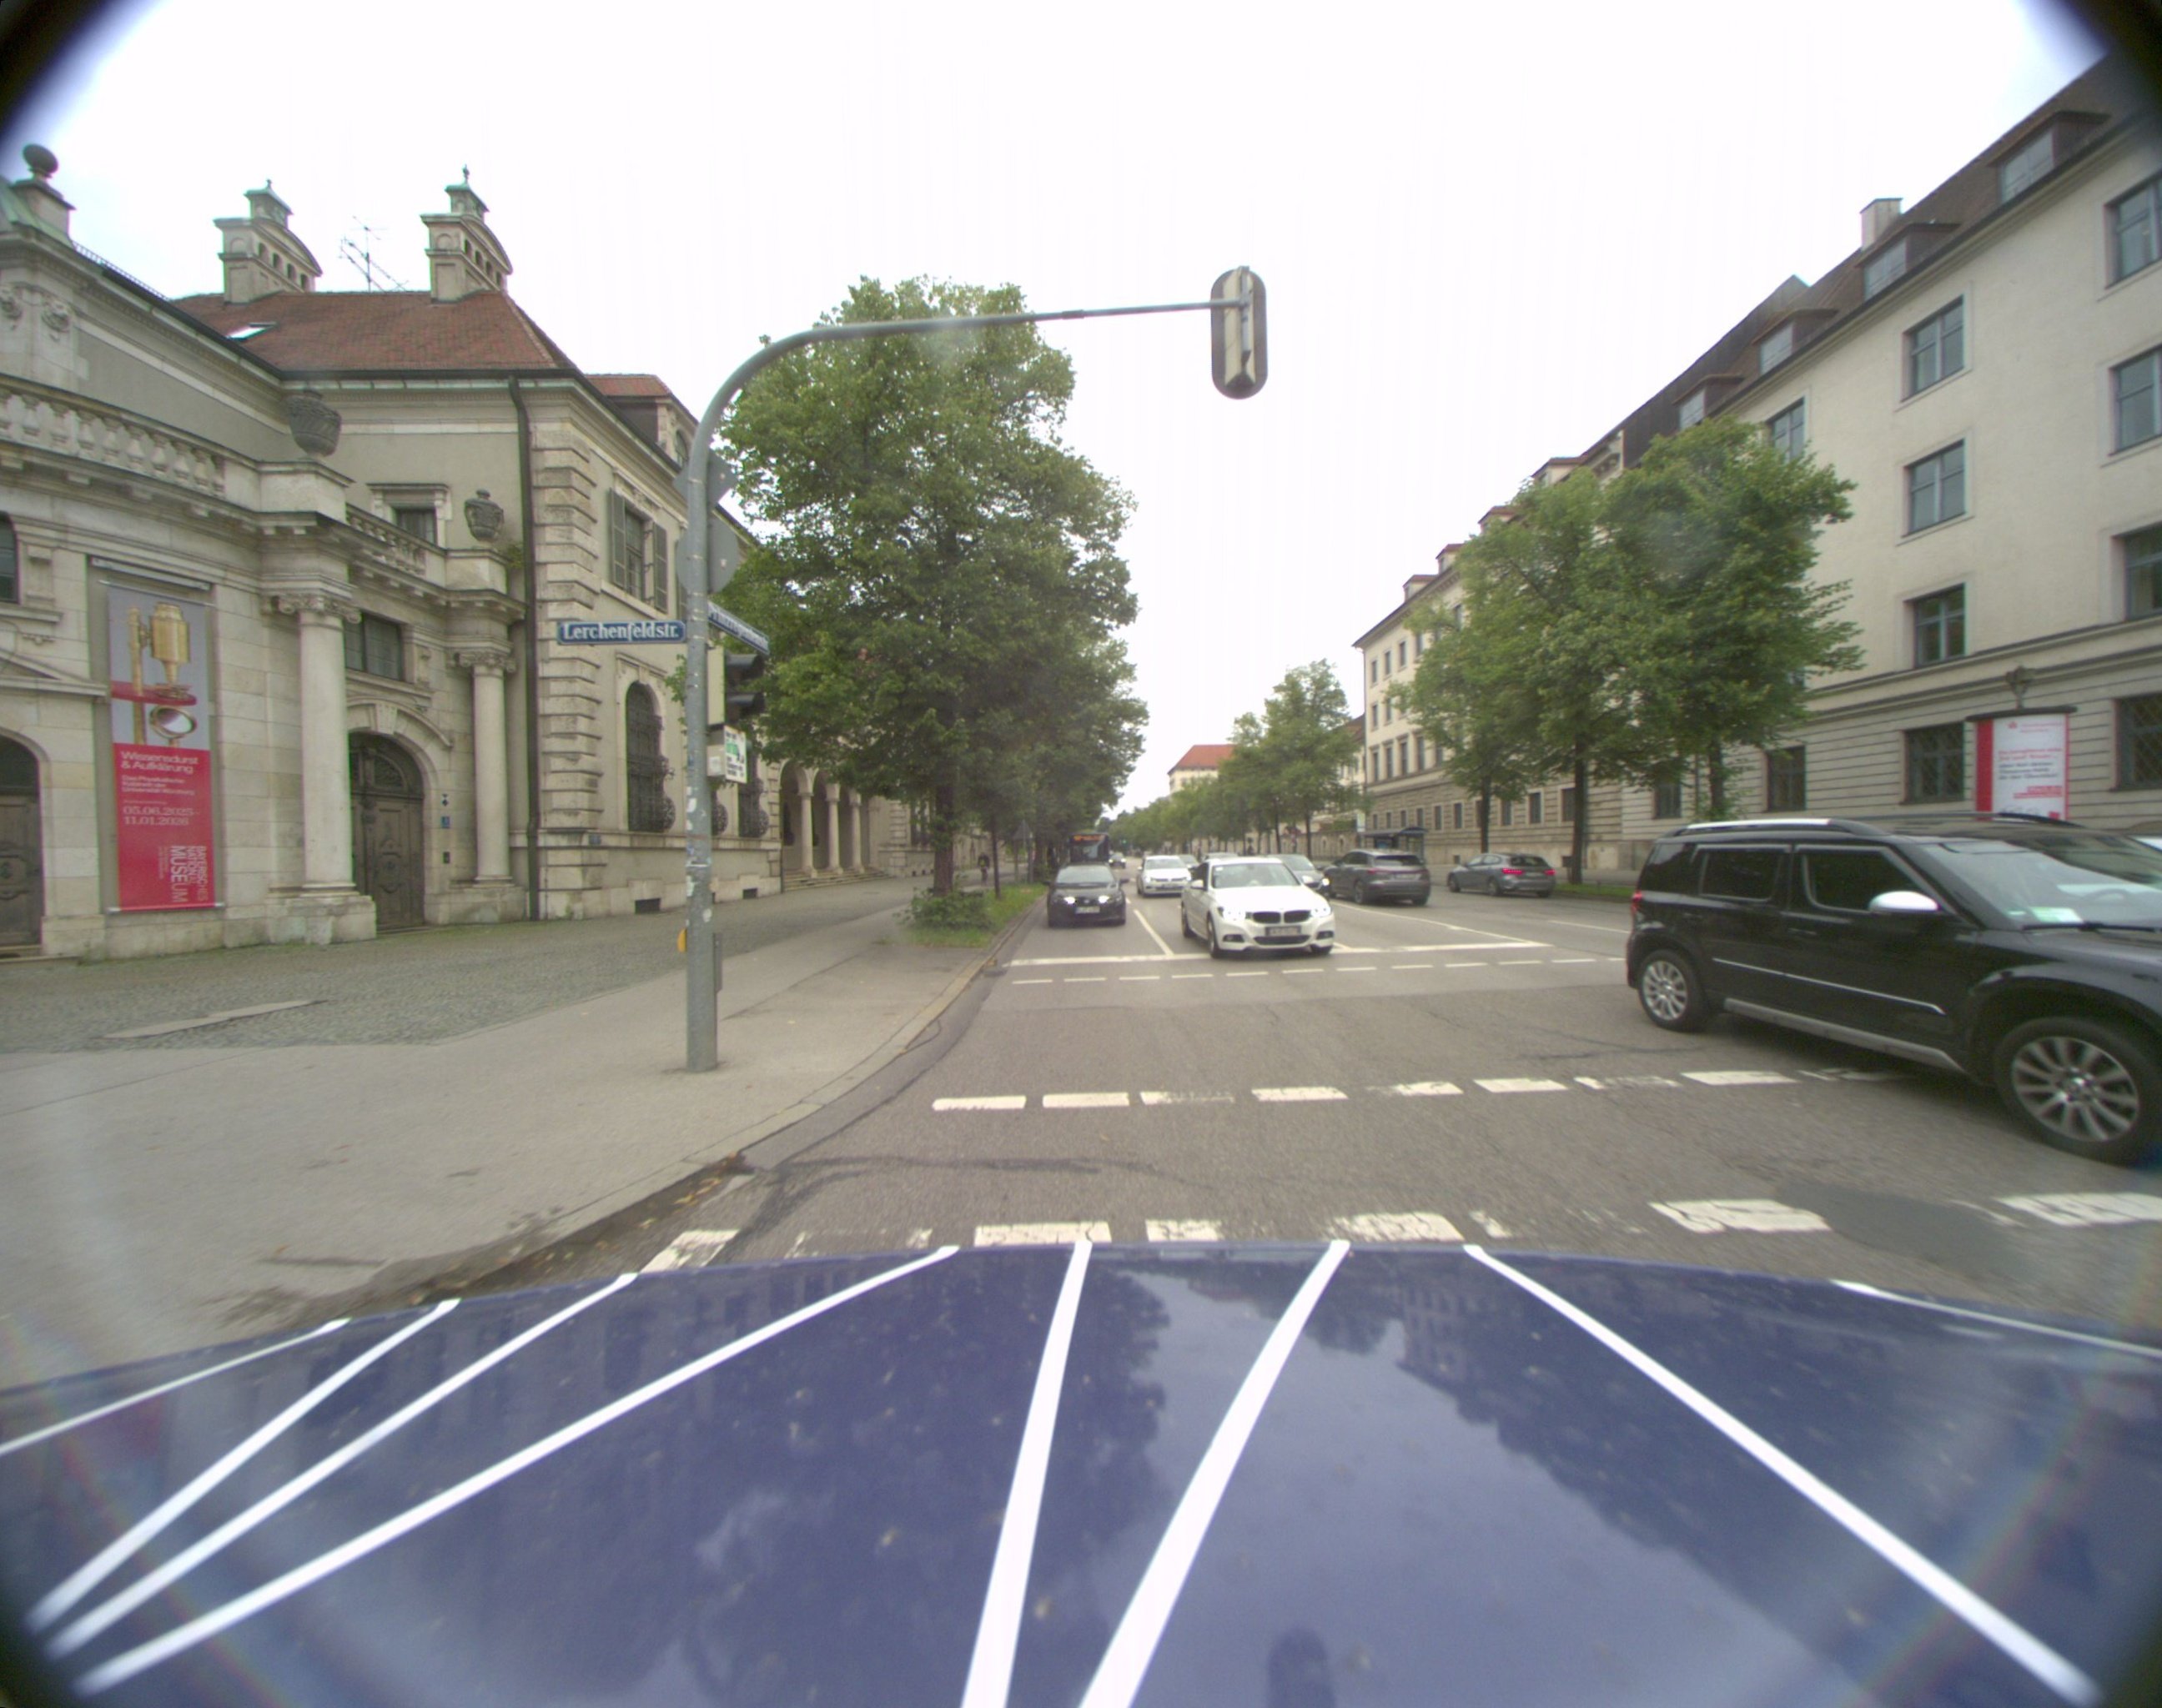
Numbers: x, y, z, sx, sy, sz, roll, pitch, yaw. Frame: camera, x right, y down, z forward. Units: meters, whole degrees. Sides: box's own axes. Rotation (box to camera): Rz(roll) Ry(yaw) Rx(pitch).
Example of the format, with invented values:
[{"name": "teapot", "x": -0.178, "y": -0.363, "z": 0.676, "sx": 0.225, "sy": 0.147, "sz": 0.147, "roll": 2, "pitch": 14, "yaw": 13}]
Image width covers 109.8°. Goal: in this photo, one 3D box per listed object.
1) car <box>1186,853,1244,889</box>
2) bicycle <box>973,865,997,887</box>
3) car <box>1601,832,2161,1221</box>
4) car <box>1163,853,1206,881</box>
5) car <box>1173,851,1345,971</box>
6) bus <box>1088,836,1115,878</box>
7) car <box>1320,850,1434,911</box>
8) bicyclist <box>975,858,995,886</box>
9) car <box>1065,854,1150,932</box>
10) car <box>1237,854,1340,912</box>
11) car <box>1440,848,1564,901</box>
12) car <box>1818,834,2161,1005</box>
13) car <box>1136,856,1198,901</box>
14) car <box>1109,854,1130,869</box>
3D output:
[{"name": "car", "x": 5.739, "y": 0.685, "z": 32.992, "sx": 1.797, "sy": 1.439, "sz": 4.274, "roll": -1, "pitch": 0, "yaw": 0}, {"name": "bicycle", "x": -4.643, "y": 1.057, "z": 36.881, "sx": 0.830, "sy": 1.001, "sz": 2.058, "roll": -2, "pitch": 0, "yaw": 1}, {"name": "car", "x": 5.382, "y": 0.700, "z": 4.502, "sx": 1.727, "sy": 1.627, "sz": 4.204, "roll": -1, "pitch": 0, "yaw": 0}, {"name": "car", "x": 5.749, "y": 0.697, "z": 42.597, "sx": 1.797, "sy": 1.439, "sz": 4.274, "roll": -1, "pitch": 0, "yaw": 0}, {"name": "car", "x": 2.789, "y": 0.792, "z": 13.115, "sx": 1.797, "sy": 1.627, "sz": 5.026, "roll": -1, "pitch": 0, "yaw": 0}, {"name": "bus", "x": 1.352, "y": 0.187, "z": 50.986, "sx": 1.638, "sy": 2.570, "sz": 6.702, "roll": -1, "pitch": 0, "yaw": 1}, {"name": "car", "x": 8.493, "y": 0.678, "z": 22.236, "sx": 1.727, "sy": 1.577, "sz": 4.374, "roll": -1, "pitch": 0, "yaw": 1}, {"name": "bicyclist", "x": -4.648, "y": 0.848, "z": 36.910, "sx": 0.808, "sy": 1.305, "sz": 0.893, "roll": -2, "pitch": 1, "yaw": 1}, {"name": "car", "x": 0.580, "y": 0.837, "z": 18.524, "sx": 1.797, "sy": 1.627, "sz": 4.274, "roll": -1, "pitch": 0, "yaw": 0}, {"name": "car", "x": 5.793, "y": 0.751, "z": 21.752, "sx": 1.797, "sy": 1.439, "sz": 4.274, "roll": -1, "pitch": 0, "yaw": 0}, {"name": "car", "x": 13.970, "y": 0.617, "z": 25.557, "sx": 1.727, "sy": 1.577, "sz": 4.445, "roll": -1, "pitch": 0, "yaw": 0}, {"name": "car", "x": 11.165, "y": 0.620, "z": 8.585, "sx": 1.683, "sy": 1.630, "sz": 4.165, "roll": -1, "pitch": 0, "yaw": 1}, {"name": "car", "x": 3.043, "y": 0.821, "z": 27.680, "sx": 1.797, "sy": 1.439, "sz": 4.274, "roll": -1, "pitch": 0, "yaw": 0}, {"name": "car", "x": 3.831, "y": 0.730, "z": 76.246, "sx": 1.797, "sy": 1.439, "sz": 4.274, "roll": -1, "pitch": 0, "yaw": 0}]
